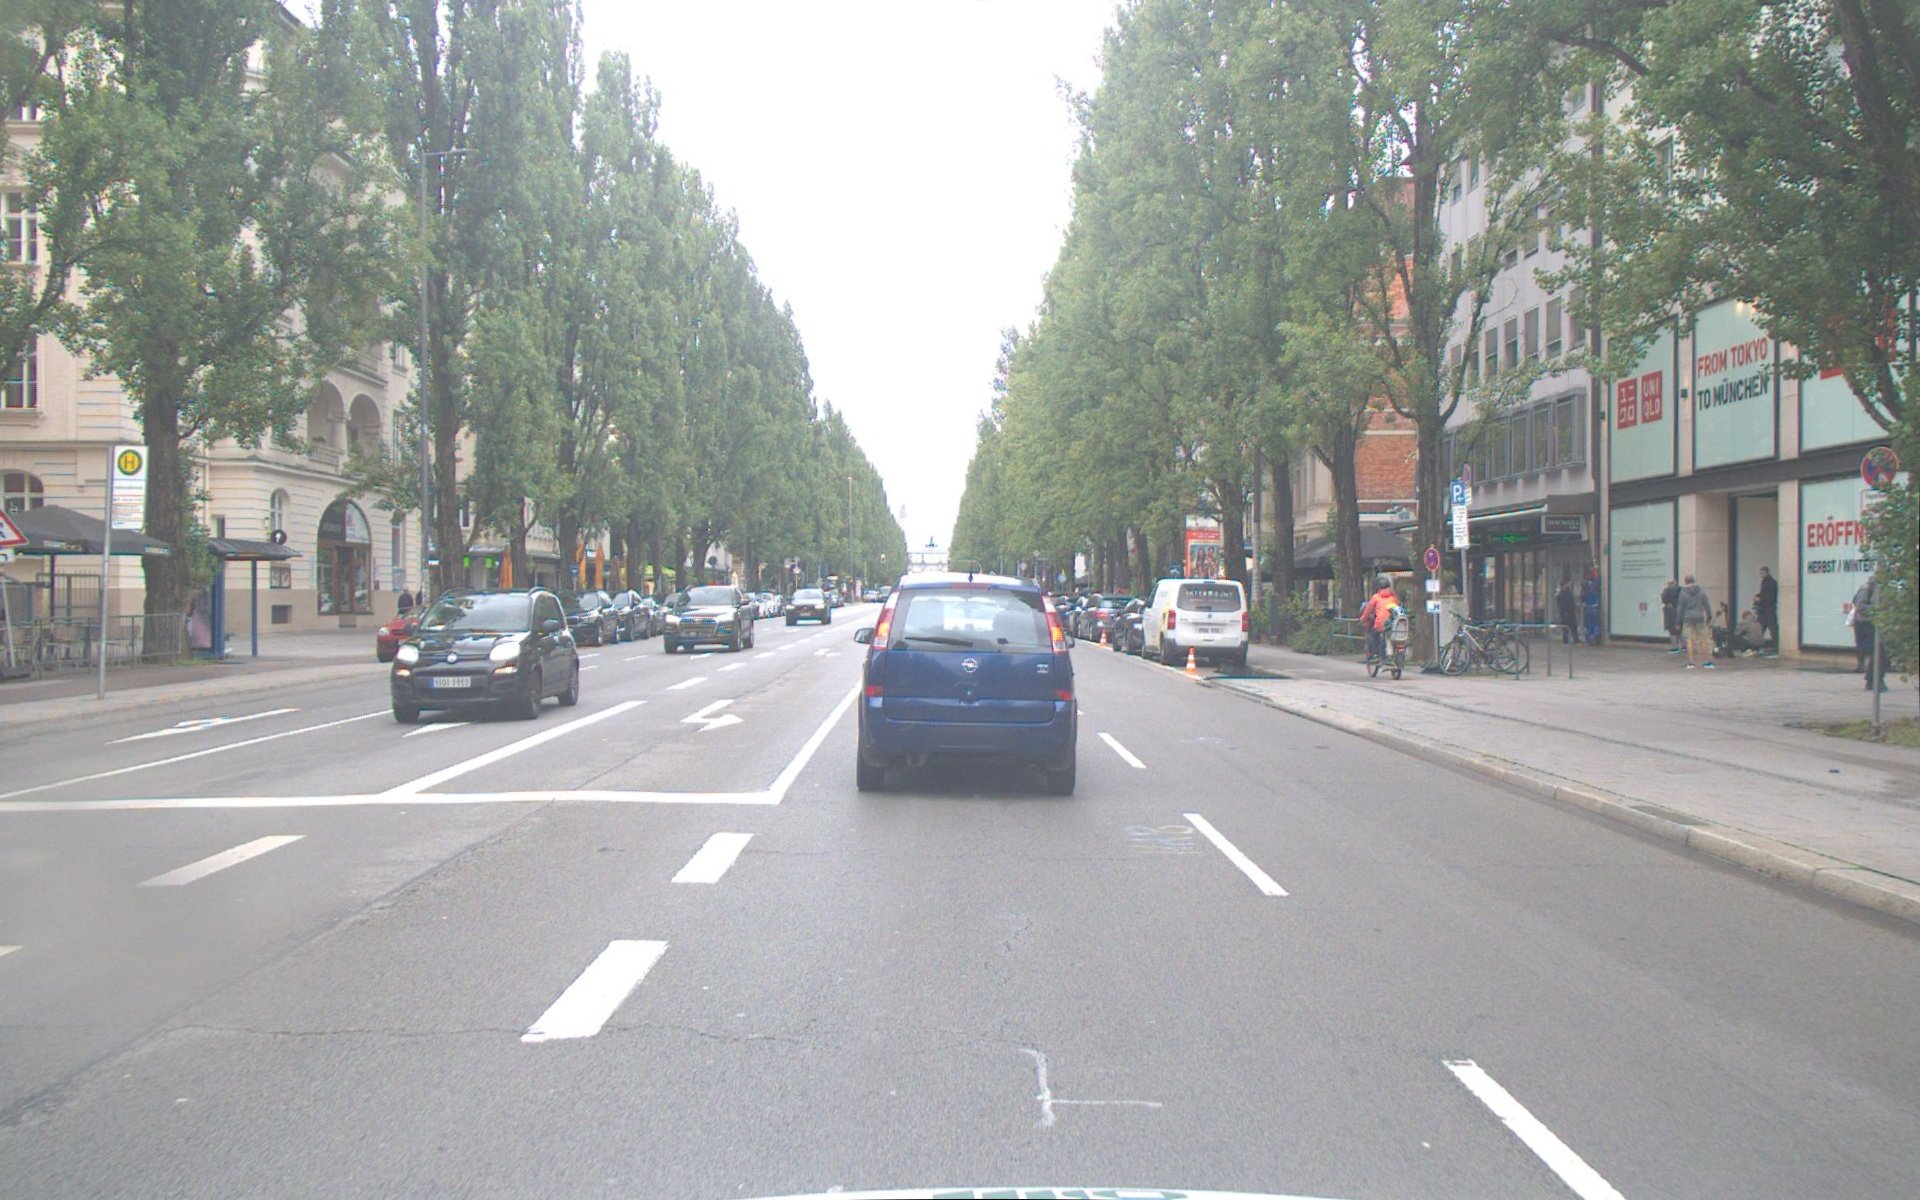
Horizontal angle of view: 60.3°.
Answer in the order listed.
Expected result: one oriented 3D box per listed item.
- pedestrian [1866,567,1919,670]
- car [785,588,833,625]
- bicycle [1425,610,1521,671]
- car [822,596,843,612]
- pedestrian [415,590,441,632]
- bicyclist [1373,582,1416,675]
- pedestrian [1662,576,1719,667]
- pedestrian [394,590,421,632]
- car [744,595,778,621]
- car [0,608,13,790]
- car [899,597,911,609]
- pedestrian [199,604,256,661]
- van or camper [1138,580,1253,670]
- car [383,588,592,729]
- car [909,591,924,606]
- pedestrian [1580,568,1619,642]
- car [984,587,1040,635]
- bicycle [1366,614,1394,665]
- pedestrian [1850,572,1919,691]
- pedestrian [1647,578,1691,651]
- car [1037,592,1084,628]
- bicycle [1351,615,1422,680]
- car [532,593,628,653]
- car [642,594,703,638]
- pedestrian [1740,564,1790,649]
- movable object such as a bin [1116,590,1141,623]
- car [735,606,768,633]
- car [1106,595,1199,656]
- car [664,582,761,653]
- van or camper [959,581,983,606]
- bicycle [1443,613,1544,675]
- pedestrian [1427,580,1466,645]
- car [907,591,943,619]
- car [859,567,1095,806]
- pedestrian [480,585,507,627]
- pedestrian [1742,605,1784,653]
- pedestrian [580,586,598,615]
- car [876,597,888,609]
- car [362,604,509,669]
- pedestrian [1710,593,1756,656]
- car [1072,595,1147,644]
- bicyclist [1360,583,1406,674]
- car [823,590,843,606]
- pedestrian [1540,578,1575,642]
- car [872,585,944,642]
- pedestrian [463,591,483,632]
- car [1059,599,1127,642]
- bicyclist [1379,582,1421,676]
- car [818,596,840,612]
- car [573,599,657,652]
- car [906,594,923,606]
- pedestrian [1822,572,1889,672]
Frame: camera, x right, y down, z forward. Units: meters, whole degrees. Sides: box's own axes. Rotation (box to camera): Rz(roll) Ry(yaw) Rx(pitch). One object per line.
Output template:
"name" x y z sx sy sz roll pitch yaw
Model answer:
"pedestrian" 16.321 0.316 28.646 0.735 1.748 0.962 0 0 -1
"car" -6.957 0.273 76.565 1.896 1.652 4.335 0 0 -1
"bicycle" 9.555 0.746 30.792 1.707 1.130 0.447 0 0 -11
"car" -13.026 0.414 169.515 1.922 1.576 3.777 0 0 -2
"pedestrian" -19.848 0.410 61.722 0.753 1.564 0.804 0 0 -2
"bicyclist" 7.637 0.503 29.056 0.609 1.616 0.481 0 0 -2
"pedestrian" 13.806 0.395 31.264 0.809 1.703 0.983 0 0 36
"pedestrian" -20.726 0.395 62.031 0.753 1.564 0.804 0 0 -2
"car" -12.521 0.488 104.173 1.798 1.573 4.084 0 0 -3
"car" -8.487 0.823 11.474 1.608 1.464 3.996 -1 0 -2
"car" -8.248 0.425 248.517 1.798 1.706 3.777 0 0 -2
"pedestrian" -16.488 0.726 37.244 0.941 1.278 0.757 0 0 2
"van or camper" 5.291 0.531 37.744 1.830 1.916 4.902 1 0 -1
"car" -5.602 0.635 20.024 1.530 1.522 3.693 -1 0 -2
"car" -5.330 -0.194 202.278 1.798 1.792 3.777 0 0 -2
"pedestrian" 16.255 0.117 42.014 0.852 1.861 0.835 0 0 26
"car" 1.784 0.365 58.123 1.672 1.601 3.998 0 0 -3
"bicycle" 9.126 0.838 35.959 0.357 1.056 1.732 0 0 7
"pedestrian" 13.393 0.443 23.933 0.548 1.695 0.929 0 0 0
"pedestrian" 15.952 0.322 37.229 0.656 1.637 0.829 0 0 2
"car" 4.201 0.395 69.686 1.714 1.430 4.464 0 0 0
"bicycle" 7.622 0.828 29.660 0.614 1.106 2.263 0 0 -2
"car" -11.375 0.655 49.790 1.783 1.646 4.716 0 1 0
"car" -11.337 0.613 65.484 1.746 1.603 4.131 -2 0 -1
"pedestrian" 17.157 0.135 35.270 0.668 1.795 0.868 0 0 1
"movable object such as a bin" 8.946 0.323 87.954 1.012 1.733 1.585 0 0 -5
"car" -12.608 1.164 100.203 1.540 1.561 2.923 0 0 1
"car" 4.994 0.637 43.406 1.685 1.467 4.351 2 0 -3
"car" -6.269 0.403 42.276 1.874 1.710 4.585 0 0 -1
"van or camper" 1.133 -0.689 174.190 2.426 2.626 5.843 0 0 -1
"bicycle" 9.701 0.797 30.079 1.727 1.062 0.482 -1 0 -12
"pedestrian" 14.378 0.364 48.874 0.809 1.873 1.099 0 0 -1
"car" -1.969 0.259 92.649 1.953 1.524 3.999 0 0 -2
"car" 0.054 0.598 13.677 1.647 1.670 3.999 1 0 -2
"pedestrian" -19.636 0.253 69.647 0.834 1.775 1.148 0 0 -1
"pedestrian" 16.682 0.597 34.375 0.559 0.986 0.672 0 0 0
"pedestrian" -22.748 0.051 101.440 0.834 1.775 1.148 0 0 -1
"car" -11.832 0.416 250.570 1.798 1.770 3.777 0 0 -2
"car" -11.552 0.777 36.739 1.840 1.321 4.096 0 0 2
"pedestrian" 16.019 0.502 34.287 0.656 1.255 0.684 -1 1 0
"car" 4.836 0.606 54.080 1.781 1.532 4.229 0 0 -4
"bicyclist" 7.618 0.506 29.811 0.609 1.616 0.753 0 0 -2
"car" -13.502 -0.207 176.044 1.953 1.691 3.999 0 0 -2
"pedestrian" 15.478 0.259 42.836 0.656 1.637 0.772 1 0 6
"car" -1.464 0.357 46.730 1.953 1.523 3.999 0 0 -2
"pedestrian" -21.180 0.489 71.922 0.612 1.752 0.826 0 0 -2
"car" 4.697 0.704 58.902 1.840 1.457 4.802 0 0 -2
"bicyclist" 7.649 0.502 28.734 0.609 1.616 0.391 0 0 -2
"car" -12.651 0.369 160.006 1.922 1.557 3.998 0 0 -2
"car" -11.349 0.809 54.691 1.766 1.622 4.631 -1 0 0
"car" -5.399 -0.010 196.669 1.922 1.424 3.777 0 0 -2
"pedestrian" 15.454 0.373 28.559 0.638 1.692 0.962 0 0 -1
